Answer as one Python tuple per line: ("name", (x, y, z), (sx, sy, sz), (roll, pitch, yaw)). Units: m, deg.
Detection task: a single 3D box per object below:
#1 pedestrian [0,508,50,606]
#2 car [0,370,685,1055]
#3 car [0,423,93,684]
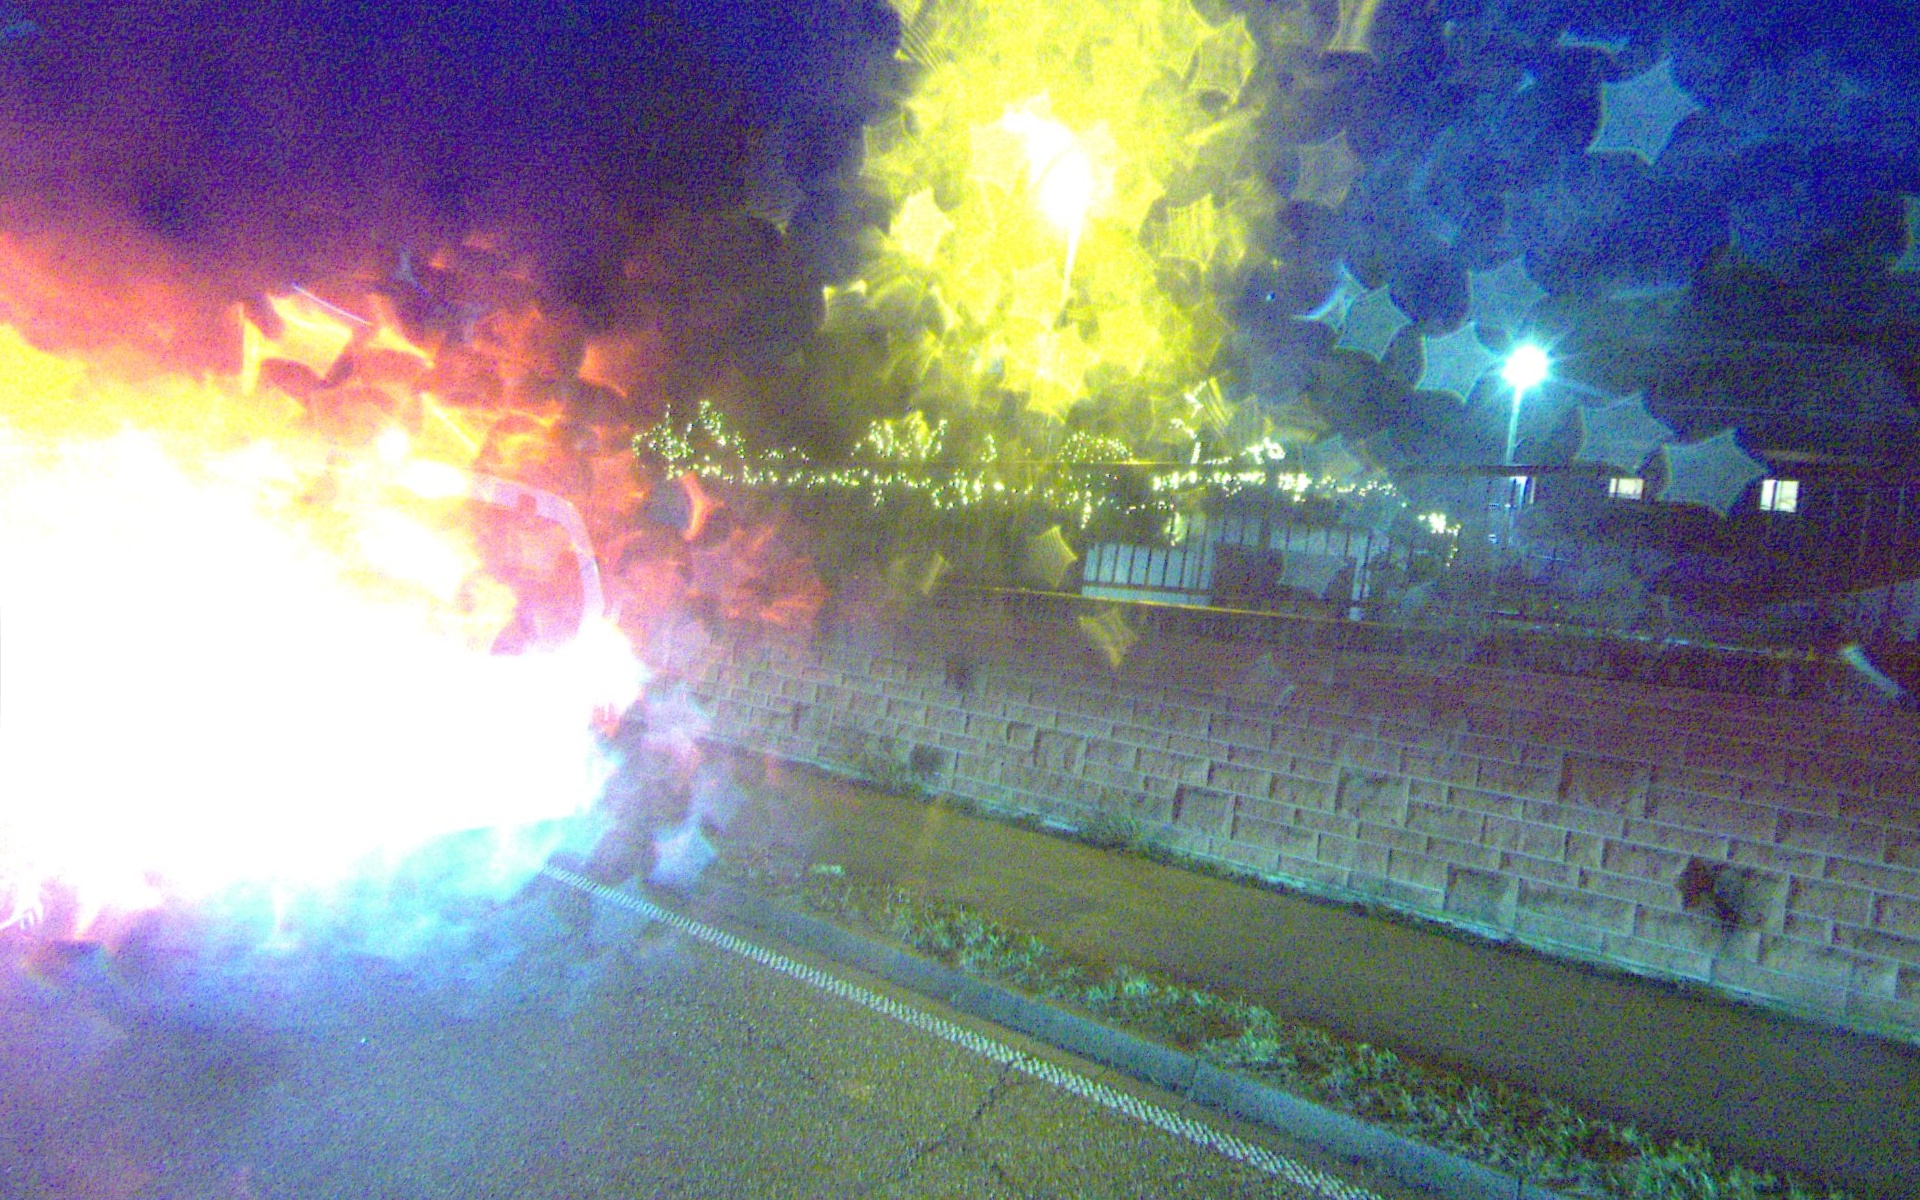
("pedestrian", (-17.454, -0.790, 18.599), (0.532, 1.721, 0.624), (7, -1, 29))
("car", (-3.579, 0.205, 4.672), (4.269, 1.886, 1.855), (6, -2, 32))
("car", (-9.625, -0.599, 8.691), (3.934, 2.070, 1.973), (6, -2, 32))
